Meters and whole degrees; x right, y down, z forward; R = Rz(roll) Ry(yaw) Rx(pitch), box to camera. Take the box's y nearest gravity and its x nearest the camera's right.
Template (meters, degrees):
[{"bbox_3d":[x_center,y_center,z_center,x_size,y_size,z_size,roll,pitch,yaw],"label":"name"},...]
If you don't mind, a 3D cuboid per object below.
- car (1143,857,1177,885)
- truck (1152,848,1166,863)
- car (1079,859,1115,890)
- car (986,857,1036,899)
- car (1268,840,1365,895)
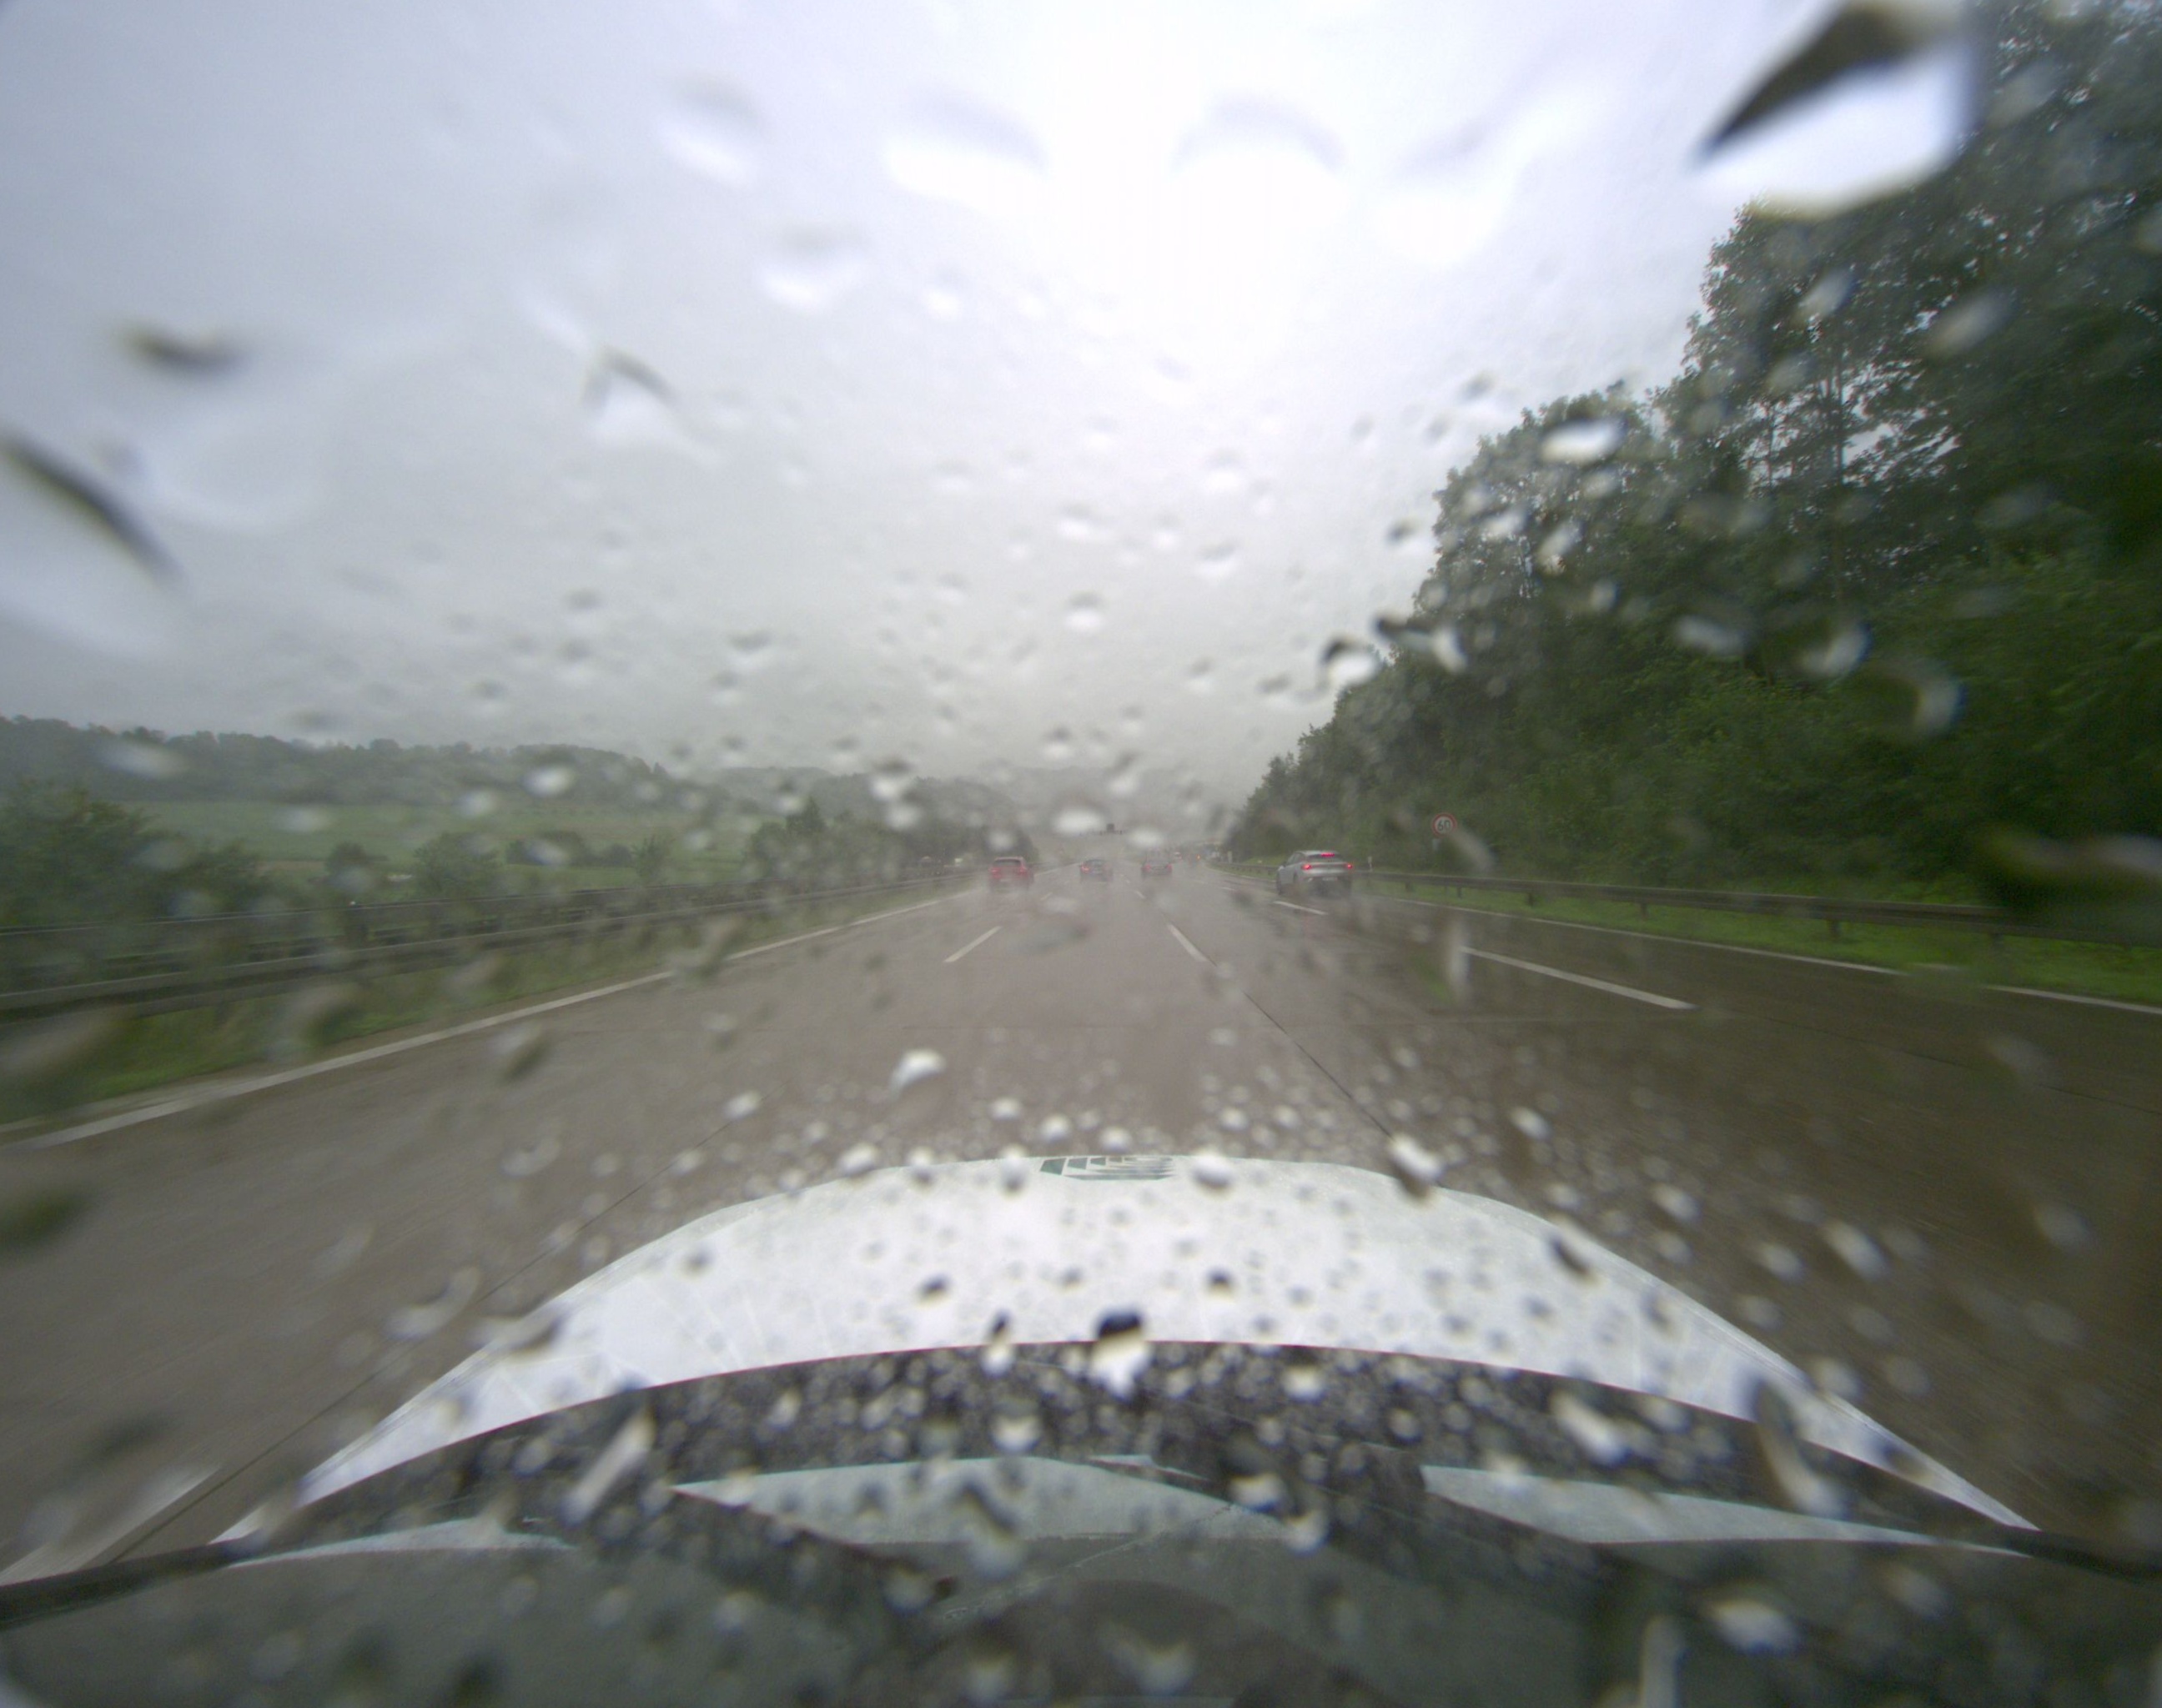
[{"bbox_3d":[5.185,1.108,54.156,1.964,1.760,4.002,-1,0,2],"label":"car"},{"bbox_3d":[22.983,0.418,241.411,3.388,4.402,11.054,0,0,2],"label":"truck"},{"bbox_3d":[0.893,1.091,44.484,1.852,1.589,4.001,-1,-1,2],"label":"car"},{"bbox_3d":[-3.254,1.067,38.463,1.878,1.816,4.000,-2,0,1],"label":"car"},{"bbox_3d":[8.247,0.473,29.067,1.986,1.750,5.665,-1,-1,2],"label":"car"}]
